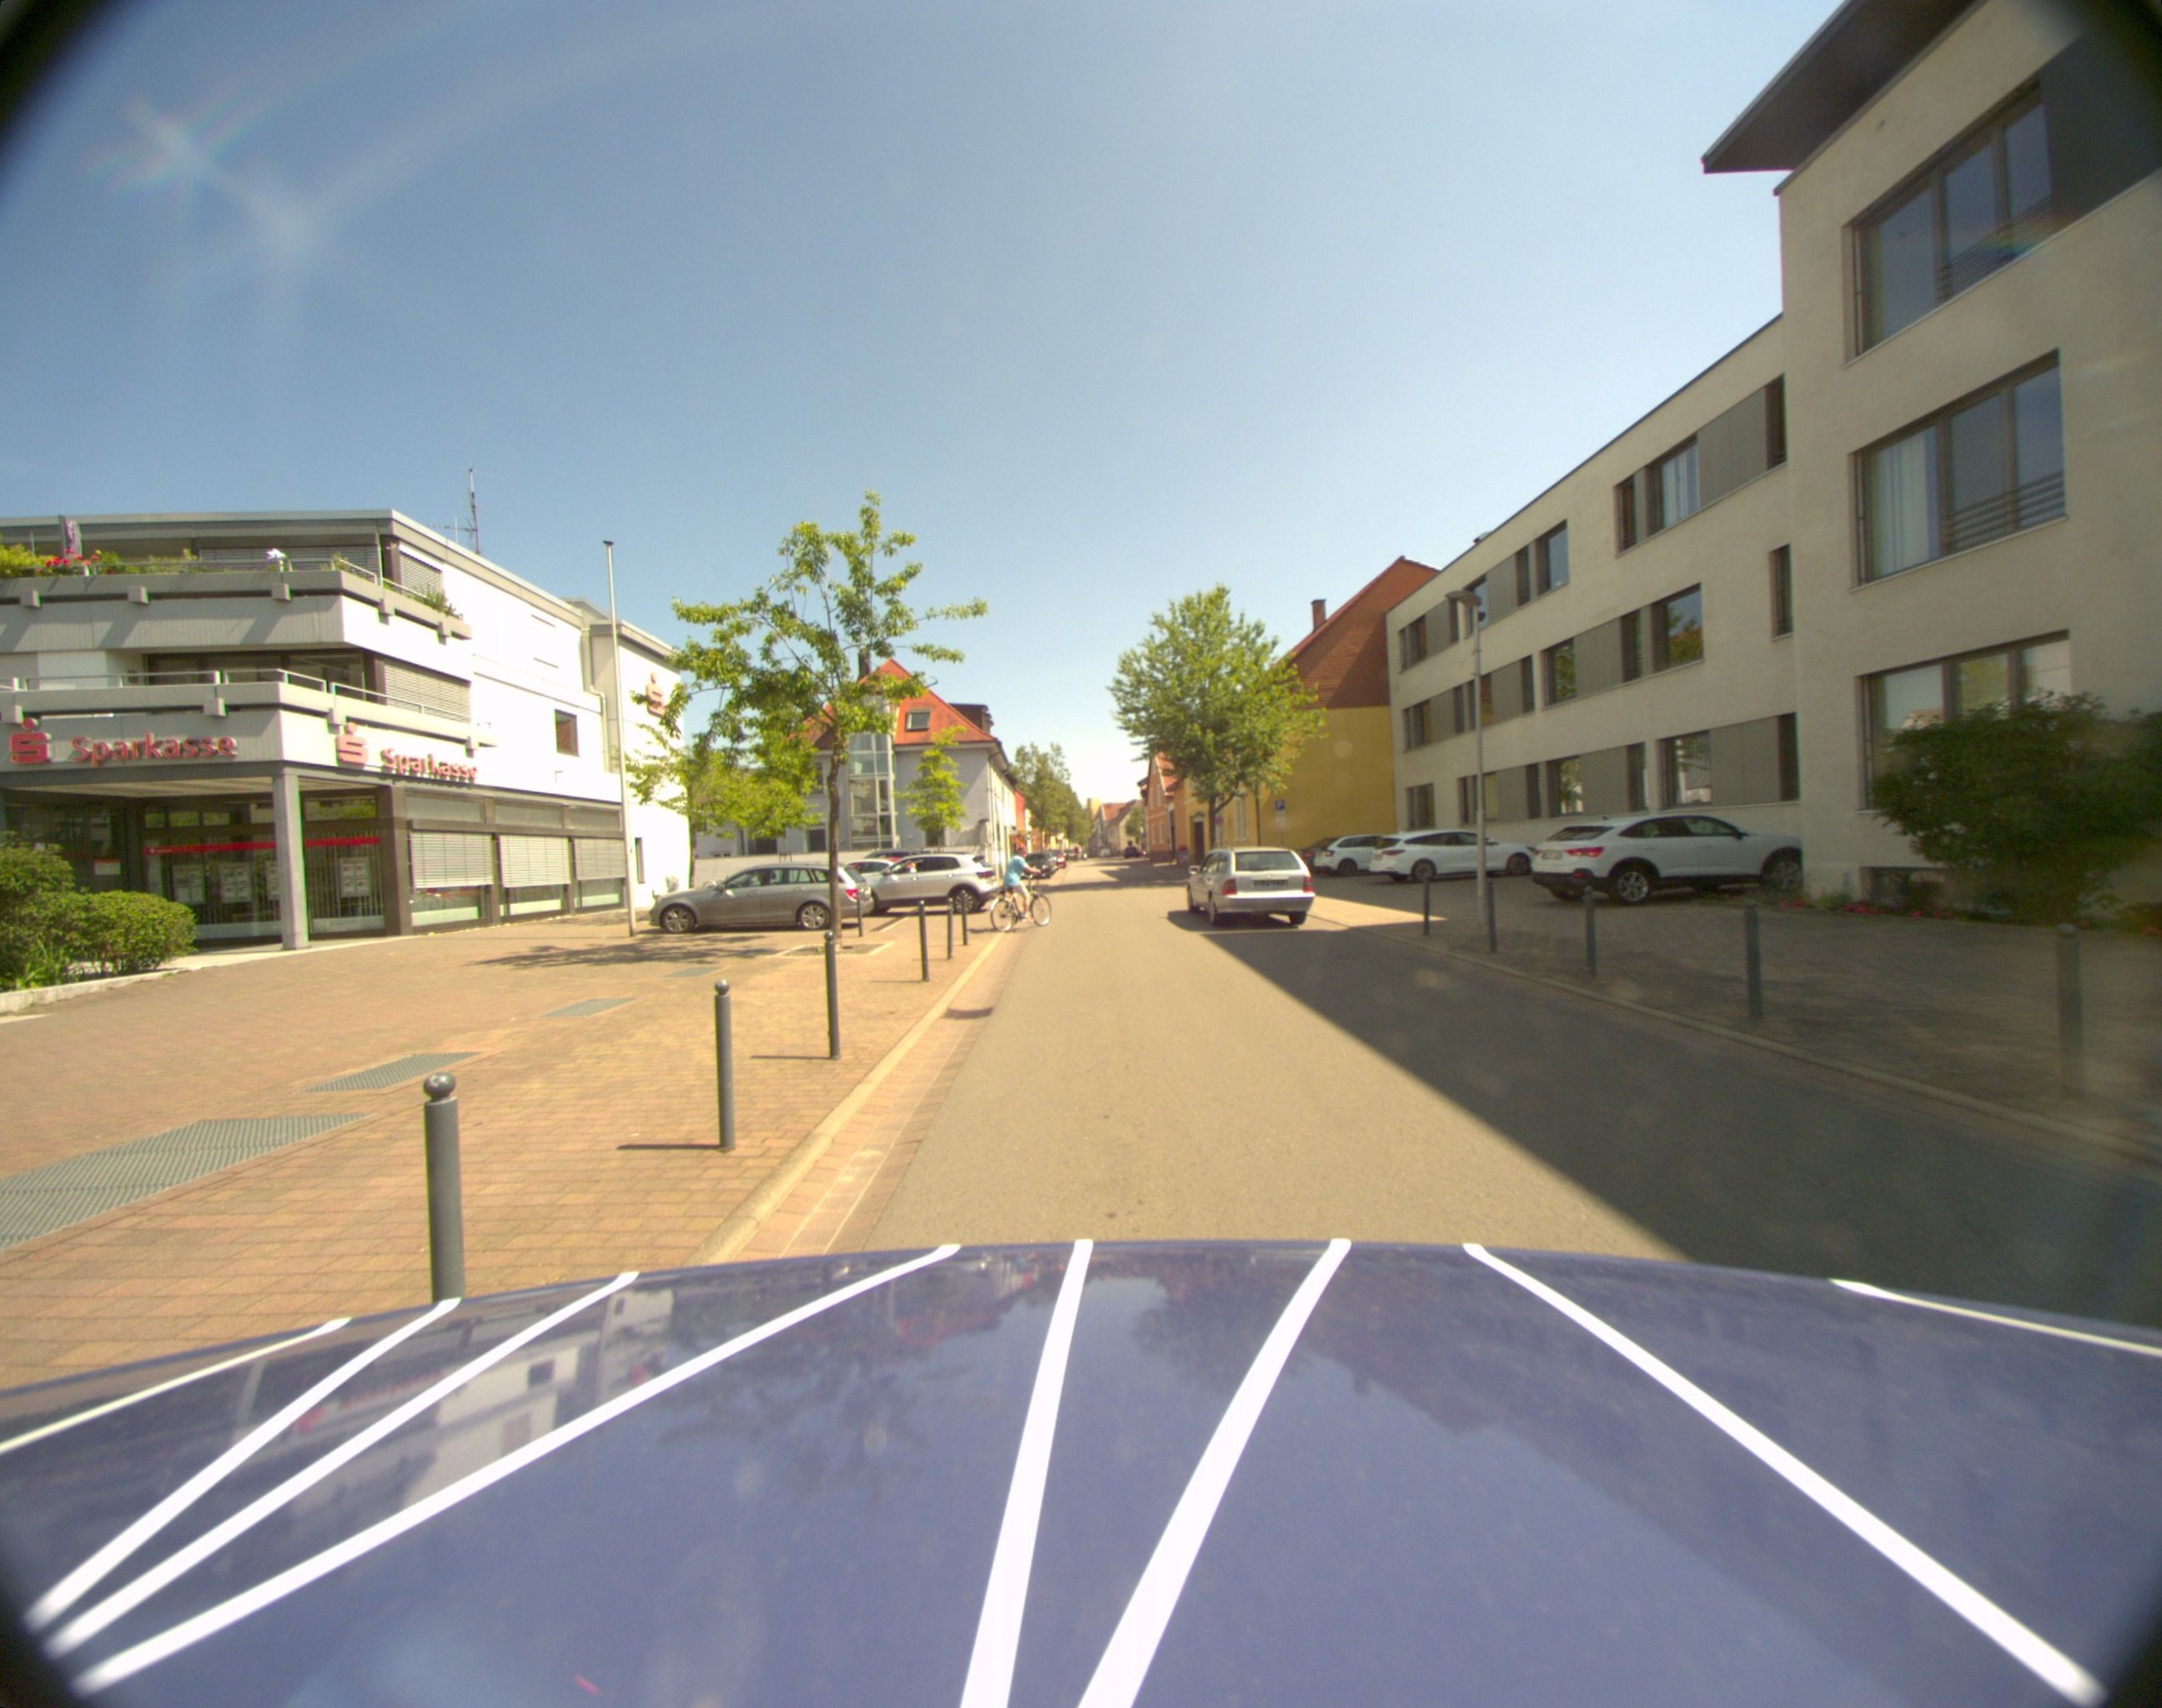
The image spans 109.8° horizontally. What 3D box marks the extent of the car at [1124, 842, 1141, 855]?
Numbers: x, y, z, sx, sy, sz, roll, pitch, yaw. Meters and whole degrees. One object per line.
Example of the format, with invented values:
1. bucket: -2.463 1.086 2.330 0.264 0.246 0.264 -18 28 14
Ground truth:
1. car: 6.829 -0.724 99.999 1.863 1.620 4.049 -3 1 7

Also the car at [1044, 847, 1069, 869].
1. car: -2.058 0.282 62.139 1.834 1.579 4.086 -4 1 -3

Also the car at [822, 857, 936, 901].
1. car: -7.243 0.866 27.520 3.740 1.444 1.744 -1 1 -6

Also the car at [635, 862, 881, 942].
1. car: -6.923 0.990 16.742 4.589 1.504 1.915 -1 1 -6

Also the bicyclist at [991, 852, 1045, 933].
1. bicyclist: -1.241 0.744 14.981 0.669 1.518 0.763 -1 1 41

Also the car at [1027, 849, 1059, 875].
1. car: -2.372 0.493 48.155 1.721 1.473 4.095 -2 1 1

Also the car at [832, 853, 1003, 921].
1. car: -4.173 0.822 19.894 3.997 1.564 1.857 -1 1 1

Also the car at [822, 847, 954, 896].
1. car: -7.468 0.663 29.792 4.643 1.761 2.147 -1 0 -3

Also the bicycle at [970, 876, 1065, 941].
1. bicycle: -1.219 1.042 15.008 0.674 1.103 1.900 -1 1 41

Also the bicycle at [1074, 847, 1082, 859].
1. bicycle: -0.264 -0.087 80.974 0.635 1.227 1.895 -1 -1 6

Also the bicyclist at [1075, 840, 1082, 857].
1. bicyclist: -0.261 -0.600 81.054 0.645 1.766 0.722 -1 0 6

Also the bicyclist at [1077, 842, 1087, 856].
1. bicyclist: 0.103 -0.574 86.985 1.028 1.635 1.025 -2 1 3

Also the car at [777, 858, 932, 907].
1. car: -7.304 0.903 24.902 4.549 1.432 1.838 -1 1 -6

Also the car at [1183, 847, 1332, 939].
1. car: 3.253 0.628 14.959 1.885 1.456 4.434 -1 1 0

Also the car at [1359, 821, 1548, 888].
1. car: 10.752 -0.013 22.164 4.515 1.545 1.934 -4 2 0

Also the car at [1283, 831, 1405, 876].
1. car: 10.265 -0.006 29.882 3.998 1.423 1.971 -4 0 -4

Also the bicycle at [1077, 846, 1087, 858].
1. bicycle: 0.090 -0.239 86.843 0.959 1.363 2.406 -2 1 4

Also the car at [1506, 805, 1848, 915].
1. car: 10.635 0.085 13.840 4.518 1.545 2.147 -4 1 -2

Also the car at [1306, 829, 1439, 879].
1. car: 10.371 -0.001 27.213 3.997 1.443 1.807 -4 0 -1

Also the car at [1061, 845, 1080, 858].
1. car: -1.373 -0.311 100.310 1.928 1.594 4.110 -3 1 7

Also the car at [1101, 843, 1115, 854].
1. car: 5.842 -1.103 162.766 2.443 2.224 4.959 -3 1 -3

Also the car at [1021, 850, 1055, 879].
1. car: -2.385 0.540 42.488 1.708 1.473 3.921 -1 1 -1

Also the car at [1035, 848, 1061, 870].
1. car: -2.377 0.355 55.922 1.741 1.504 3.735 -2 0 -1

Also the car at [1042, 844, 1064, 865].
1. car: -2.557 0.047 70.614 1.871 1.675 4.659 -5 2 -2
